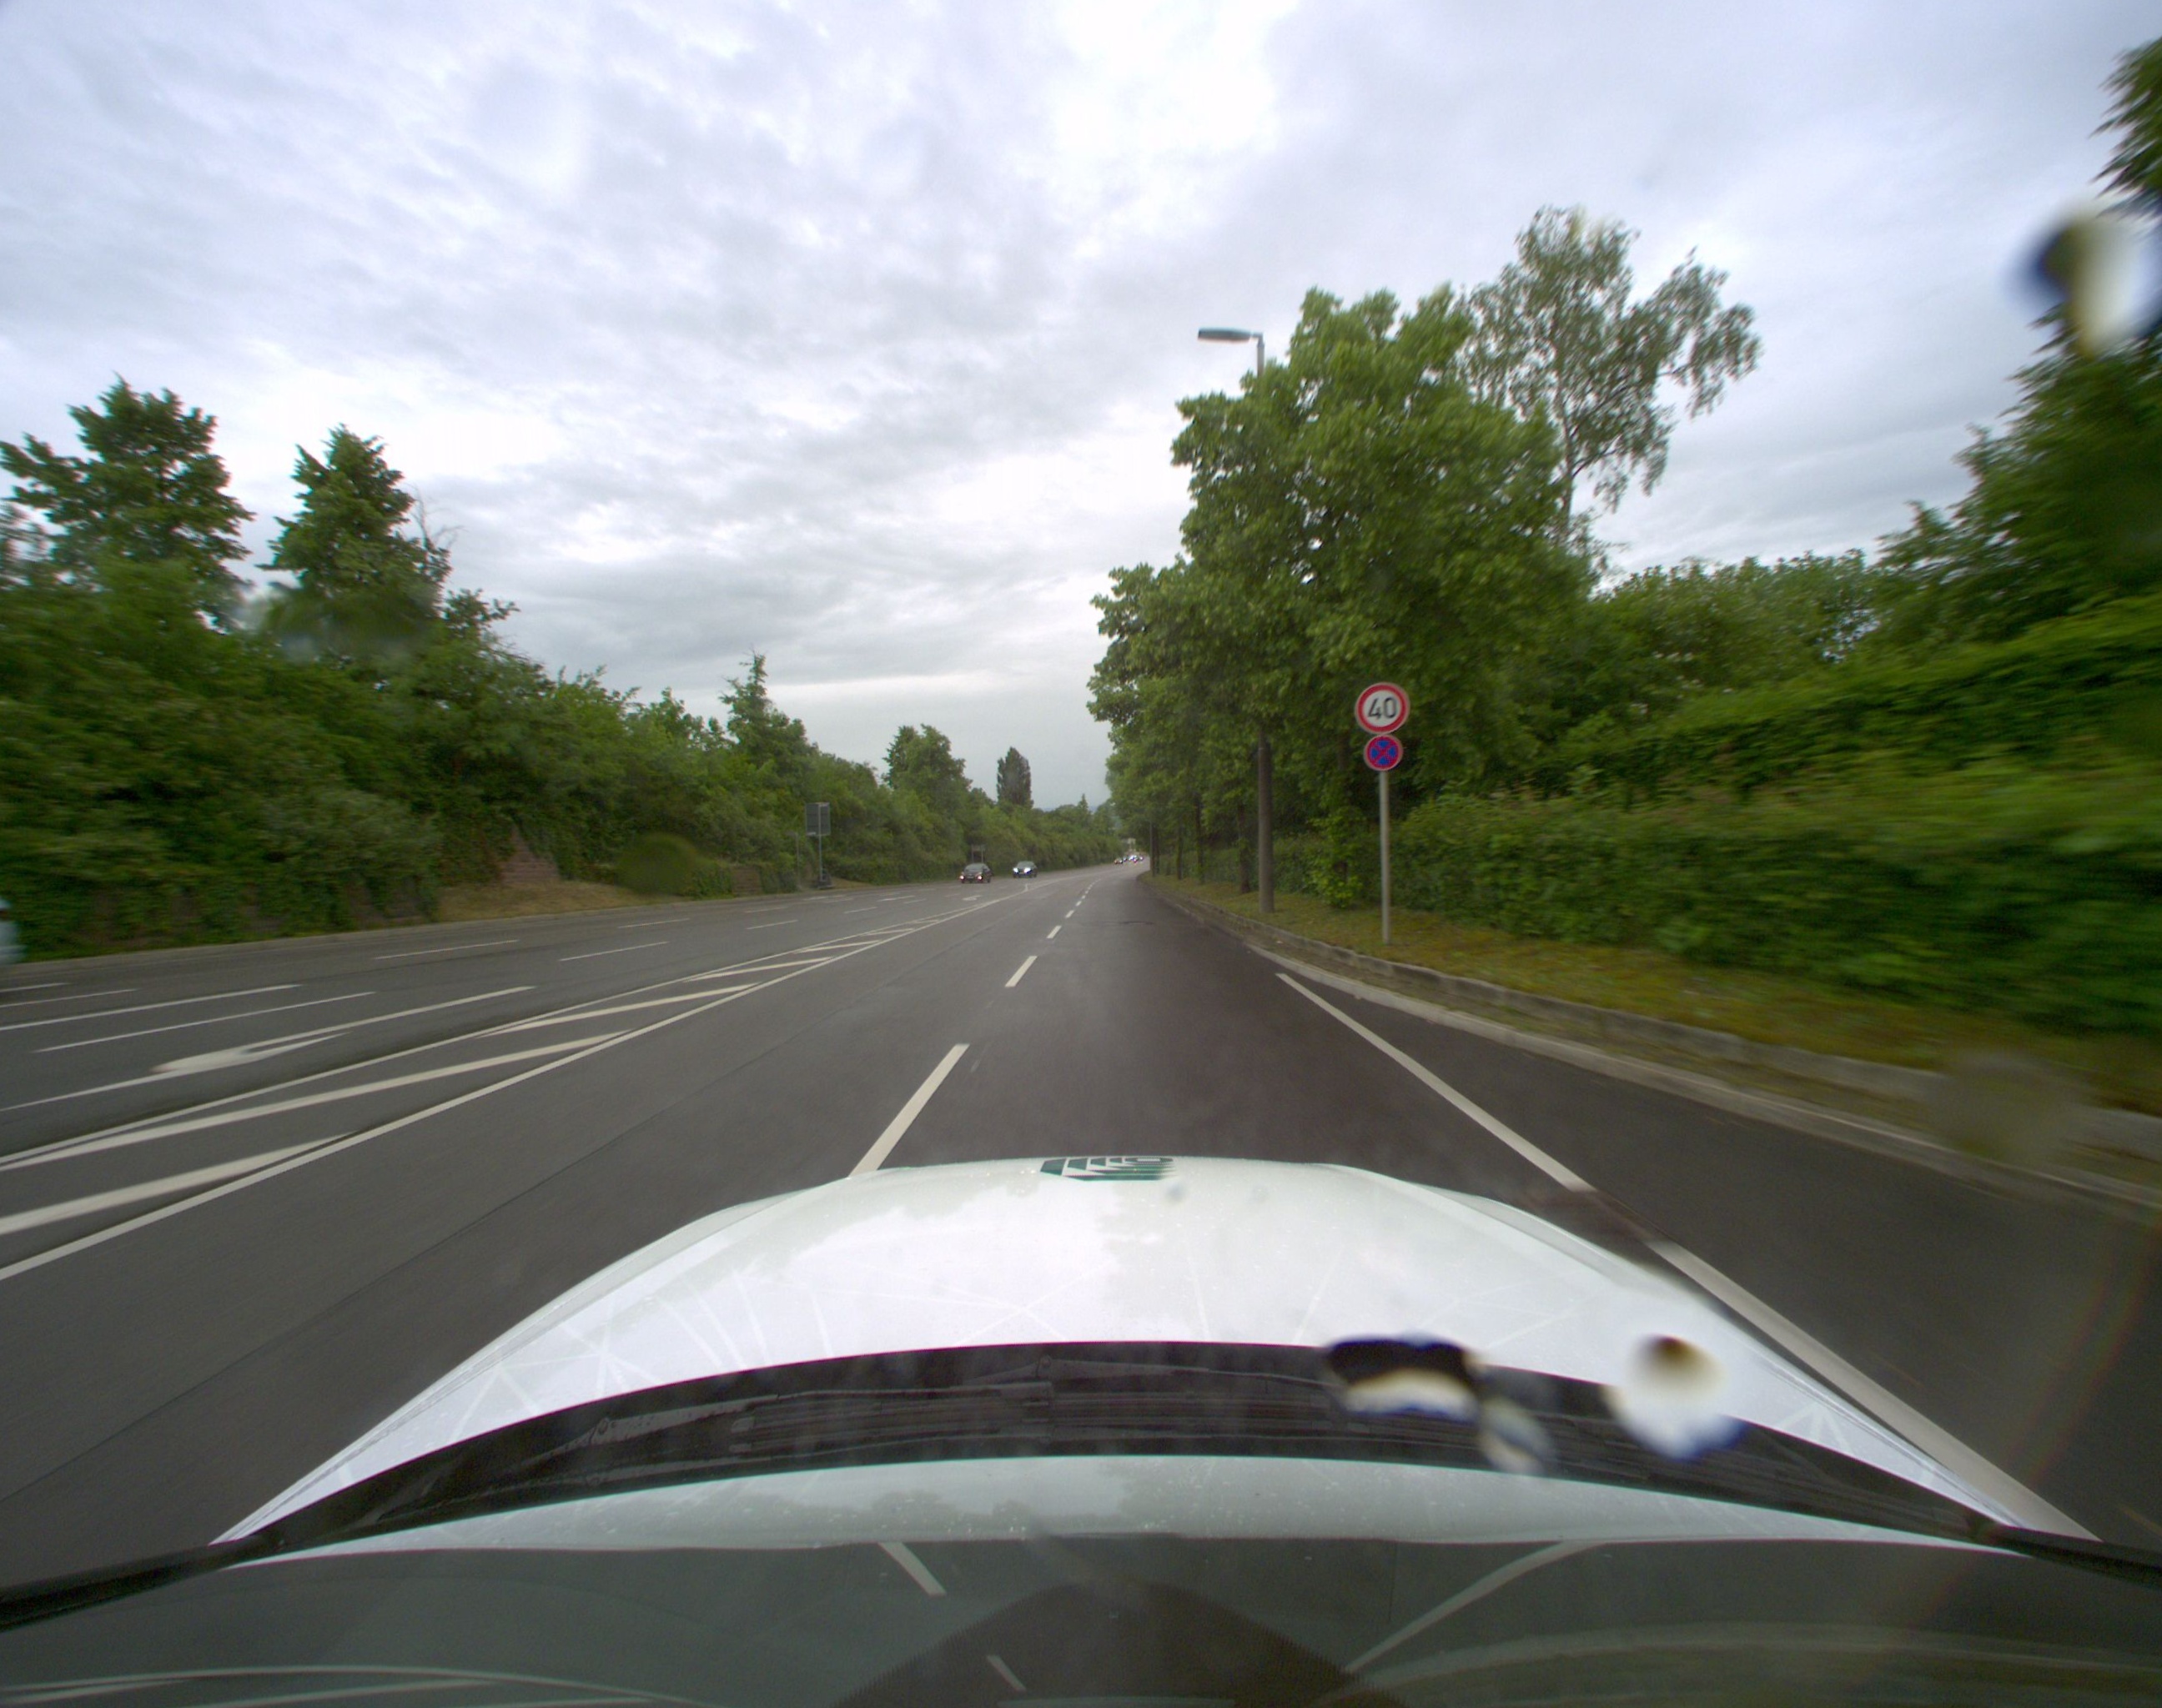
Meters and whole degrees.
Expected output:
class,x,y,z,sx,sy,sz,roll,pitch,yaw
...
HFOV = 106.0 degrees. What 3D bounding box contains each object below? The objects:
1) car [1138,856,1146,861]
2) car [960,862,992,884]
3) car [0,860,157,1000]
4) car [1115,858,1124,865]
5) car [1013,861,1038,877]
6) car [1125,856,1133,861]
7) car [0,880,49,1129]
class,x,y,z,sx,sy,sz,roll,pitch,yaw
car,17.761,1.372,236.515,1.854,1.464,3.901,1,-1,8
car,-7.845,1.388,61.320,1.718,1.565,3.895,1,0,2
car,-13.308,0.893,8.890,1.716,1.591,4.004,-1,0,4
car,8.960,1.737,189.304,1.856,1.464,3.897,1,-1,5
car,-5.544,1.502,81.743,1.856,1.589,3.897,1,-1,5
car,13.693,1.206,232.502,1.854,1.464,3.900,1,-1,7
car,-7.413,0.909,2.761,1.771,1.472,4.648,-1,0,3
